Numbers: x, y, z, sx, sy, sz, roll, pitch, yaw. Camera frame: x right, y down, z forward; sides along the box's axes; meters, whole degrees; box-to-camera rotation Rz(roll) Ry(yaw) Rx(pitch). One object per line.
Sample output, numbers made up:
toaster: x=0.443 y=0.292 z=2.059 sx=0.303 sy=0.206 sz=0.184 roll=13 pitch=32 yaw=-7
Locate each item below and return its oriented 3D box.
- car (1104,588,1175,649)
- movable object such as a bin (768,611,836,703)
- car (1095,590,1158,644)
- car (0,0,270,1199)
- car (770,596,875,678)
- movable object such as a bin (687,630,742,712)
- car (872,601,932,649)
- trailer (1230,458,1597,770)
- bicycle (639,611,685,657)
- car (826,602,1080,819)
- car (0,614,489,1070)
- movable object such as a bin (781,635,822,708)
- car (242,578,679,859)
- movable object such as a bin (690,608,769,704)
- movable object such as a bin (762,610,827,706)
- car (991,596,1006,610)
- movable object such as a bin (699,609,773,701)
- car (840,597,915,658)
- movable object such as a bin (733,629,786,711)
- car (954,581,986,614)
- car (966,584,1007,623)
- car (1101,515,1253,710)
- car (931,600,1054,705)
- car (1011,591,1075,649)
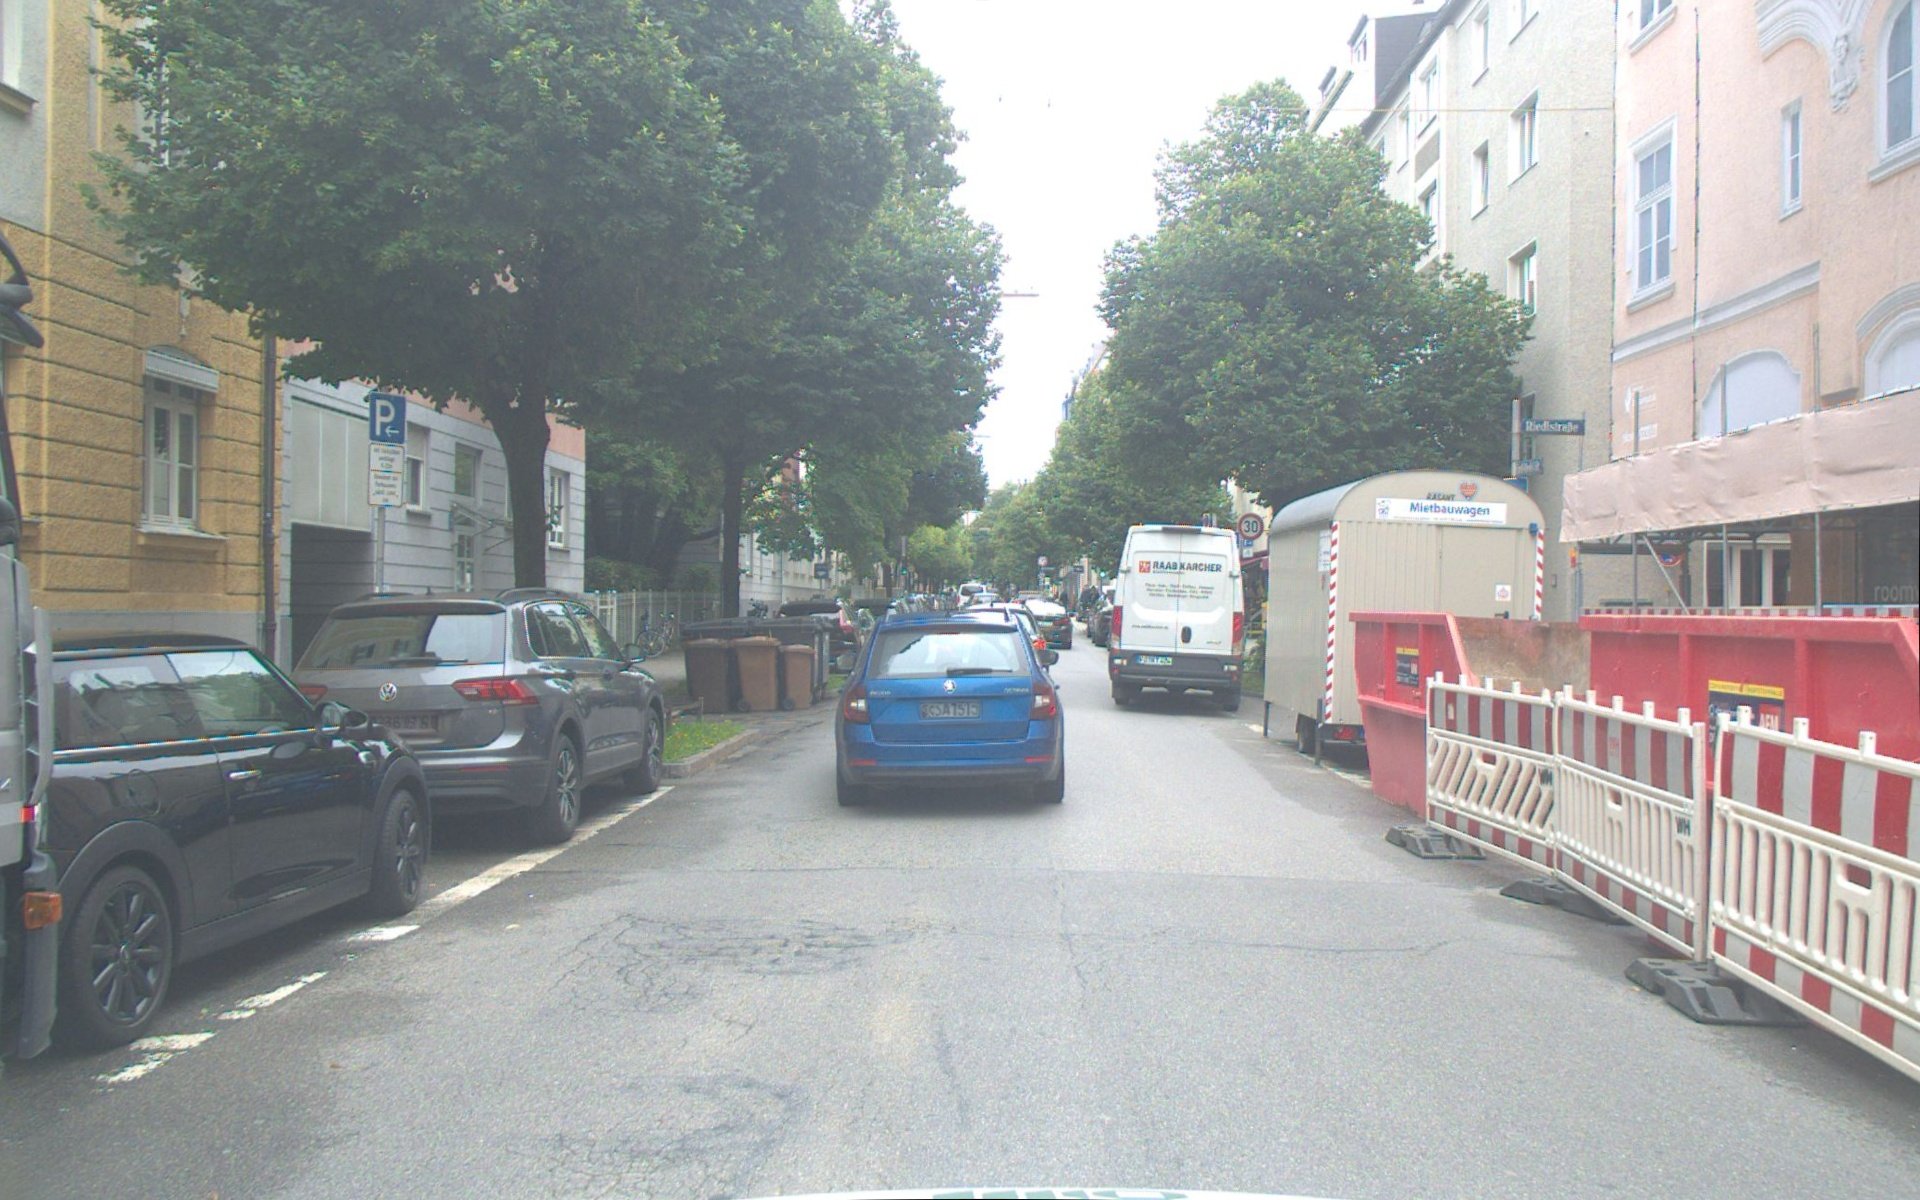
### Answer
car: x=5.403 y=0.534 z=50.123 sx=1.787 sy=1.757 sz=4.001 roll=0 pitch=0 yaw=1
movable object such as a bin: x=-2.504 y=0.892 z=26.326 sx=1.000 sy=1.400 sz=1.103 roll=-1 pitch=0 yaw=-3
car: x=5.599 y=0.537 z=56.070 sx=1.787 sy=1.757 sz=4.001 roll=0 pitch=0 yaw=1
car: x=-3.390 y=-0.482 z=0.264 sx=2.754 sy=3.884 sz=8.724 roll=0 pitch=0 yaw=1
car: x=-2.678 y=0.687 z=33.053 sx=1.775 sy=1.504 sz=3.999 roll=1 pitch=0 yaw=-1
movable object such as a bin: x=-3.594 y=1.037 z=24.272 sx=0.706 sy=1.158 sz=0.658 roll=-1 pitch=0 yaw=-2
car: x=-1.913 y=0.815 z=55.821 sx=1.775 sy=1.504 sz=4.001 roll=1 pitch=0 yaw=1
trailer: x=4.883 y=0.168 z=19.219 sx=2.450 sy=2.889 sz=6.902 roll=2 pitch=-1 yaw=1
bicycle: x=-7.464 y=0.841 z=41.489 sx=0.621 sy=1.086 sz=2.388 roll=0 pitch=0 yaw=2
car: x=-0.010 y=0.773 z=13.573 sx=1.752 sy=1.486 sz=4.315 roll=0 pitch=0 yaw=1
car: x=-3.480 y=0.778 z=7.118 sx=1.663 sy=1.434 sz=3.709 roll=0 pitch=0 yaw=3
movable object such as a bin: x=-2.333 y=1.048 z=24.370 sx=0.535 sy=1.038 sz=0.636 roll=-1 pitch=0 yaw=-2
car: x=-3.328 y=0.707 z=11.926 sx=1.748 sy=1.657 sz=4.186 roll=0 pitch=0 yaw=2
movable object such as a bin: x=-3.493 y=0.832 z=25.159 sx=1.060 sy=1.400 sz=1.083 roll=-1 pitch=0 yaw=-3
movable object such as a bin: x=-2.516 y=0.875 z=25.228 sx=0.899 sy=1.400 sz=1.079 roll=-1 pitch=0 yaw=-3
car: x=4.961 y=0.406 z=212.056 sx=1.829 sy=1.770 sz=4.347 roll=0 pitch=0 yaw=0
movable object such as a bin: x=-3.539 y=0.858 z=26.260 sx=1.036 sy=1.400 sz=1.095 roll=-1 pitch=0 yaw=-3
car: x=-2.138 y=0.687 z=43.780 sx=1.775 sy=1.504 sz=3.999 roll=1 pitch=0 yaw=-1
movable object such as a bin: x=-2.939 y=1.021 z=24.318 sx=0.697 sy=1.168 sz=0.636 roll=-1 pitch=0 yaw=-2
car: x=0.625 y=-0.136 z=100.813 sx=1.829 sy=1.902 sz=4.348 roll=2 pitch=0 yaw=1
car: x=1.242 y=0.159 z=78.243 sx=1.829 sy=1.726 sz=4.347 roll=2 pitch=0 yaw=0
car: x=3.431 y=0.215 z=26.338 sx=2.068 sy=2.710 sz=5.504 roll=2 pitch=-1 yaw=7
car: x=0.547 y=0.753 z=25.163 sx=1.705 sy=1.446 sz=3.665 roll=1 pitch=0 yaw=3
car: x=2.617 y=0.611 z=53.076 sx=1.829 sy=1.726 sz=4.348 roll=2 pitch=0 yaw=1
